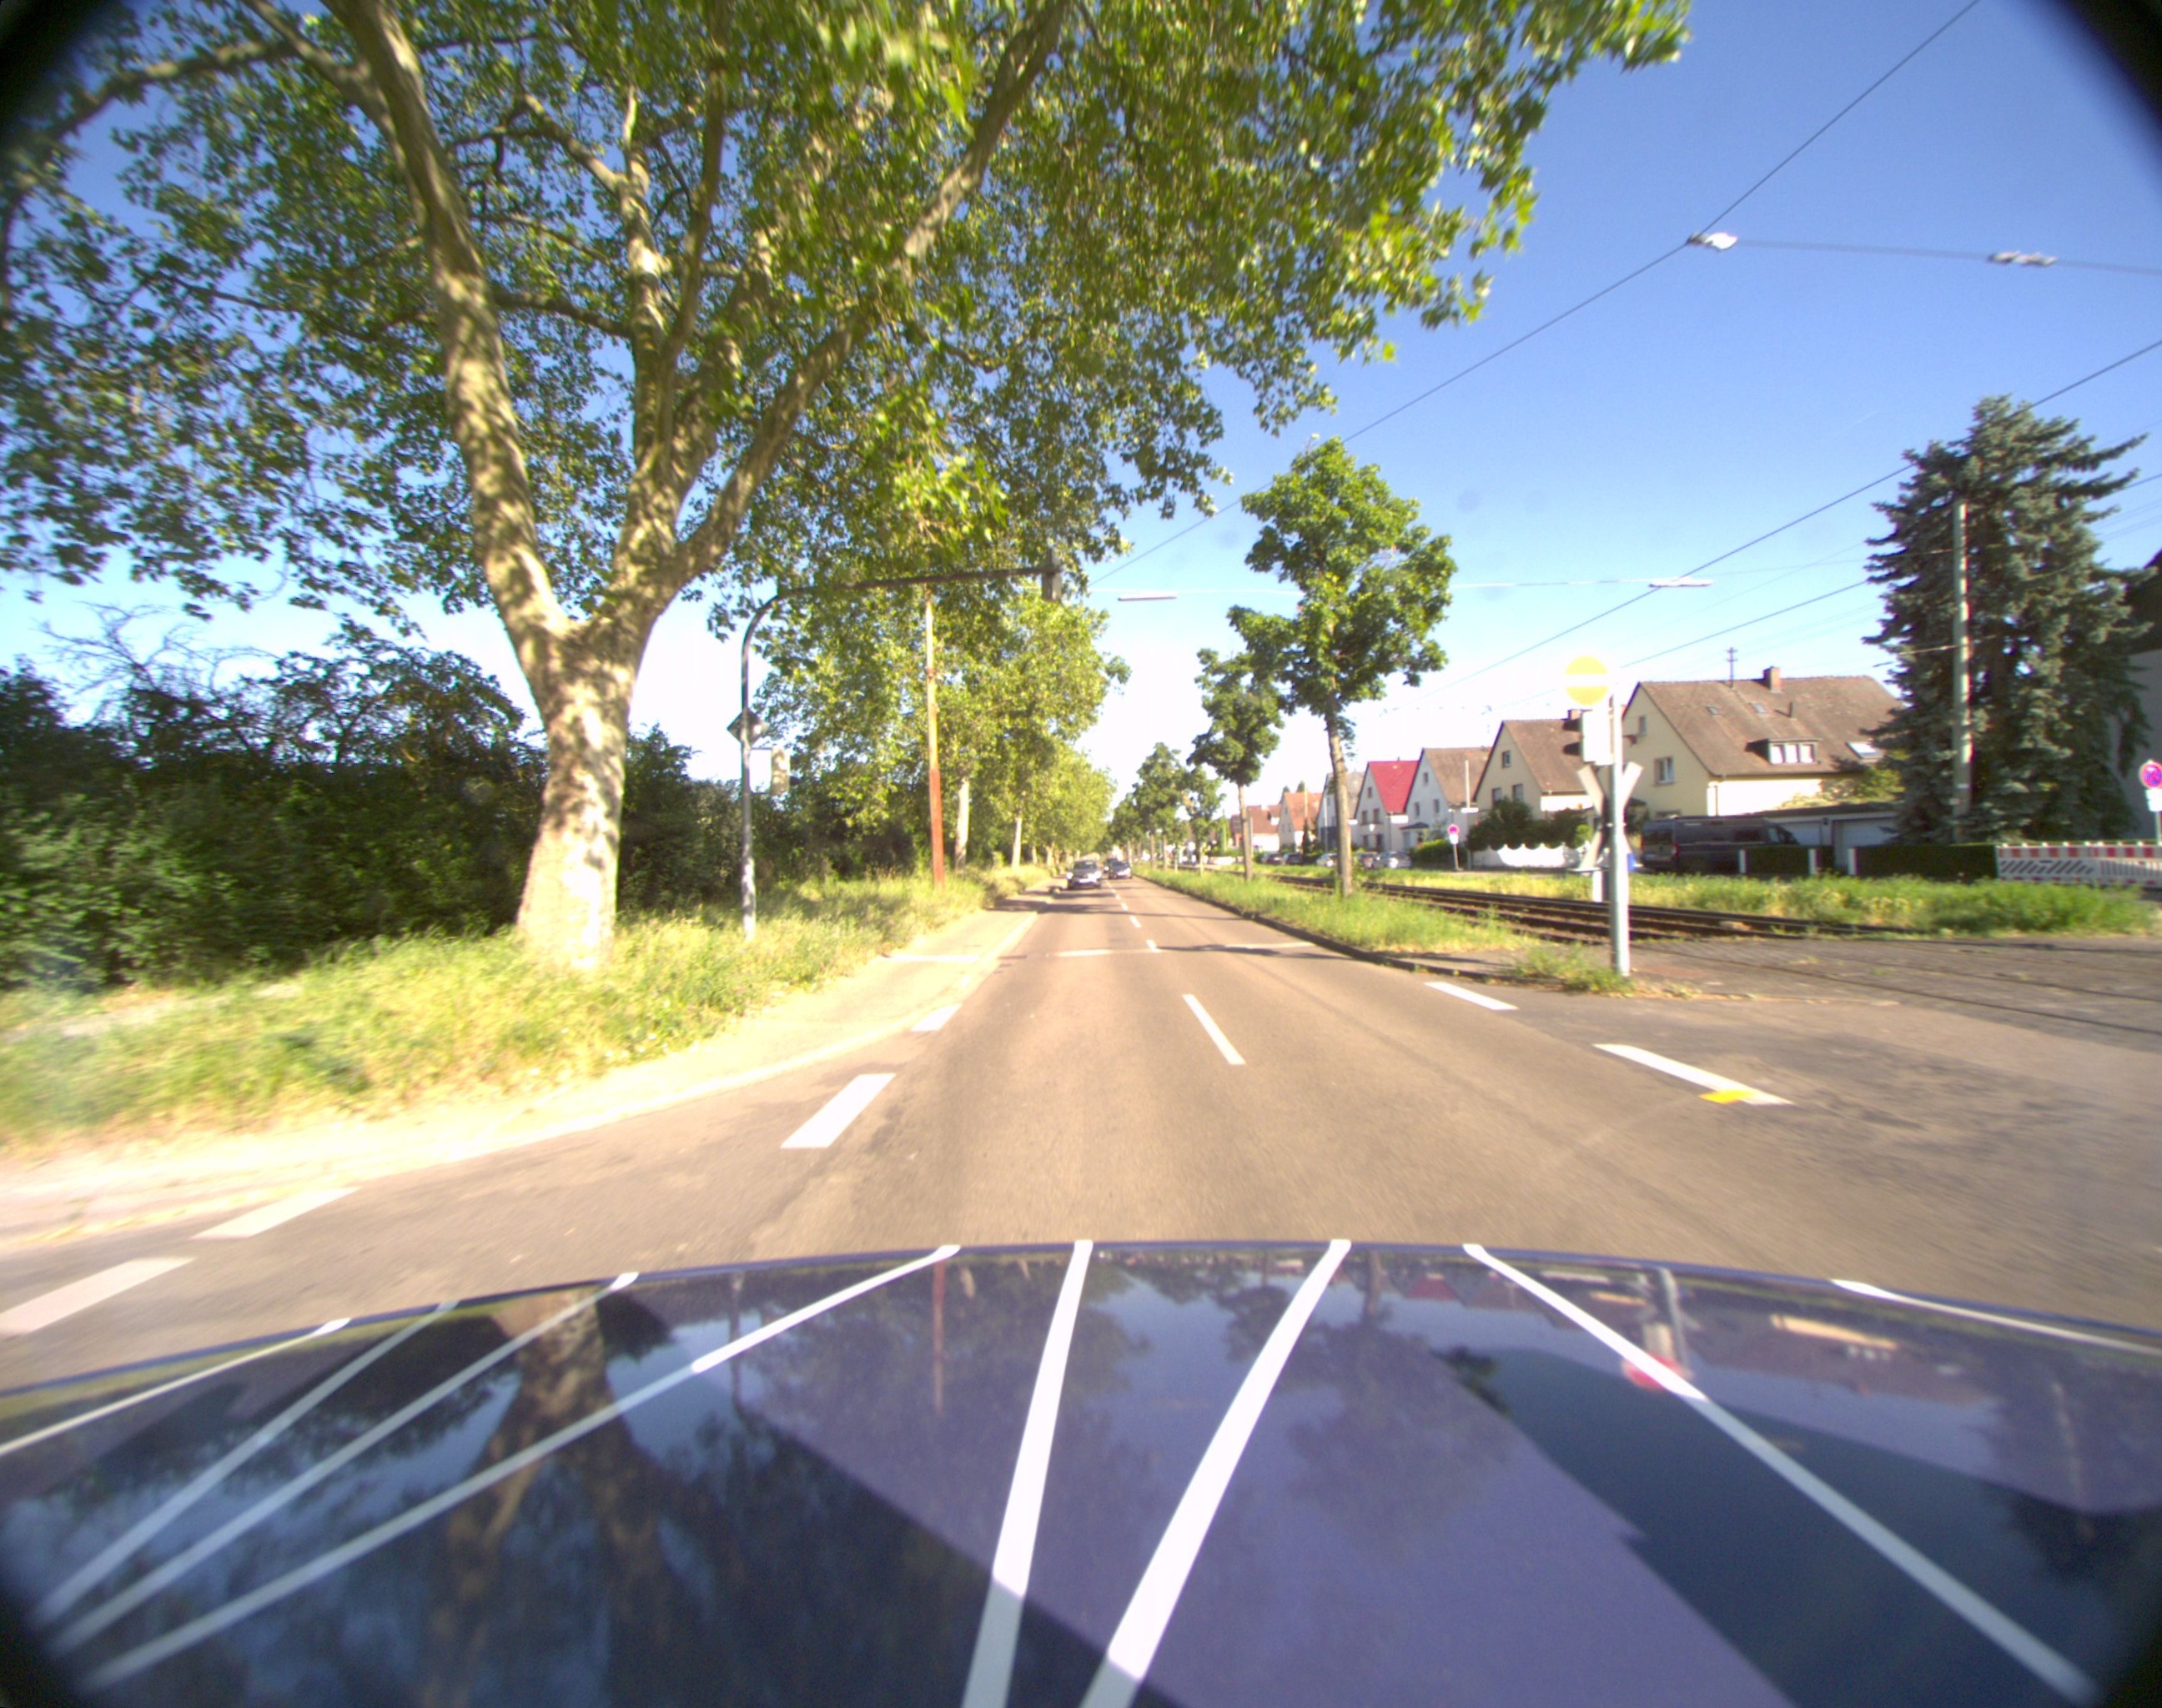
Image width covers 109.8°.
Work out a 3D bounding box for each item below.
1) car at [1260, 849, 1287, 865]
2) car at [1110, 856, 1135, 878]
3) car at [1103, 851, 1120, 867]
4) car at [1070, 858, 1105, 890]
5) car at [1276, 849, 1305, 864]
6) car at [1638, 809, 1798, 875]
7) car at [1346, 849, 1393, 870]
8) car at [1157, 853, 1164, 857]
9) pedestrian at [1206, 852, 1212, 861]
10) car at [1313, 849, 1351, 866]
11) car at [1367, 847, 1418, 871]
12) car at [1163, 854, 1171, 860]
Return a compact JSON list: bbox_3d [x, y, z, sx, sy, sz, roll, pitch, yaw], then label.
[{"bbox_3d":[22.873,0.324,90.343,1.998,1.703,4.390,-3,0,1],"label":"car"},{"bbox_3d":[3.129,0.959,57.470,1.692,1.499,3.582,-3,0,1],"label":"car"},{"bbox_3d":[3.229,0.519,80.782,1.692,1.499,3.582,-3,0,1],"label":"car"},{"bbox_3d":[0.364,1.046,41.058,1.692,1.499,3.582,-4,0,1],"label":"car"},{"bbox_3d":[22.521,0.229,81.669,1.931,1.486,4.256,-3,0,1],"label":"car"},{"bbox_3d":[27.401,-0.487,32.828,5.041,2.609,2.103,-2,0,1],"label":"car"},{"bbox_3d":[22.182,0.398,58.518,1.998,1.441,4.127,-5,0,1],"label":"car"},{"bbox_3d":[24.518,0.325,235.795,1.756,1.373,3.823,-3,0,1],"label":"car"},{"bbox_3d":[23.080,0.436,137.254,0.814,1.525,0.793,-2,-1,-11],"label":"pedestrian"},{"bbox_3d":[22.329,0.300,67.781,1.998,1.418,4.410,-3,0,3],"label":"car"},{"bbox_3d":[22.040,0.328,53.872,1.951,1.544,4.056,-3,0,1],"label":"car"},{"bbox_3d":[24.819,0.881,219.028,1.738,1.481,3.756,-3,0,1],"label":"car"}]
